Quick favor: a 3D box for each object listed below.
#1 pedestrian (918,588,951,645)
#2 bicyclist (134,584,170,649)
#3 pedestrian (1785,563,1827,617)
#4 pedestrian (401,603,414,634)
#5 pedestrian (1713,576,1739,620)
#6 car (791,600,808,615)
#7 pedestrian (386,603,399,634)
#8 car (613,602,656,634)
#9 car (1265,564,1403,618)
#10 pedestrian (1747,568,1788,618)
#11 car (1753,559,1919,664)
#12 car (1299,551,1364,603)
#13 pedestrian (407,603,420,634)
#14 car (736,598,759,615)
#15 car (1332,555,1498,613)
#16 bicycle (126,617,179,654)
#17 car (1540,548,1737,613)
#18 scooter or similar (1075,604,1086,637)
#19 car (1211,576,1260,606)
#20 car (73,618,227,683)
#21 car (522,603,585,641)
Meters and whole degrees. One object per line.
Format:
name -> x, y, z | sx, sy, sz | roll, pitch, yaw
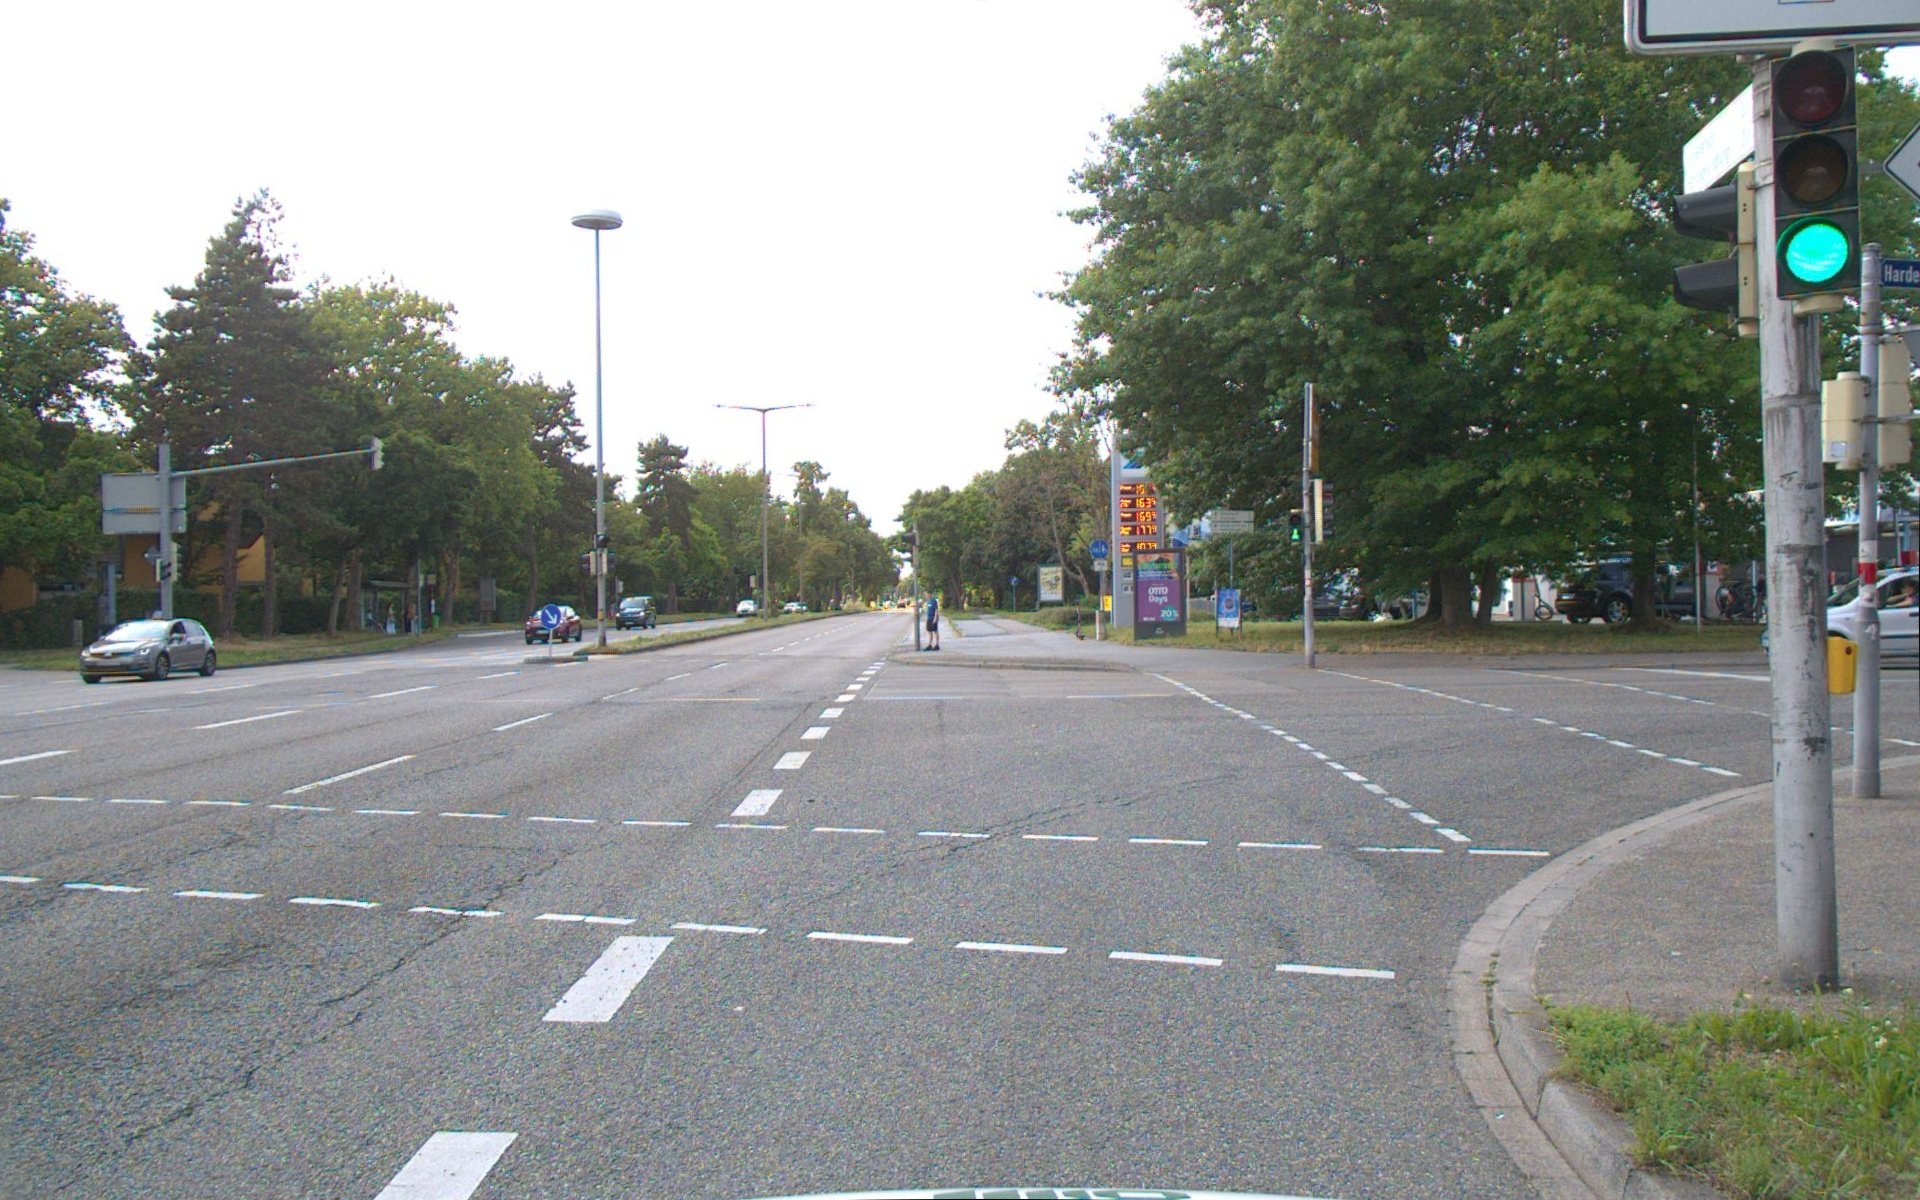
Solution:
pedestrian -> -0.711, 0.455, 46.021 | 0.714, 1.558, 0.756 | -1, 0, -17
bicyclist -> -25.938, 0.533, 53.128 | 0.736, 2.049, 0.831 | -1, 0, -3
pedestrian -> 20.426, -0.242, 39.938 | 0.753, 1.277, 0.641 | 0, -1, 45
pedestrian -> -27.760, 0.937, 83.119 | 0.560, 1.522, 0.419 | 1, -1, -17
pedestrian -> 27.583, -0.080, 59.547 | 0.640, 1.571, 0.624 | -1, 0, 6
car -> -18.847, 0.914, 194.414 | 1.823, 1.735, 4.453 | -1, 0, -3
pedestrian -> -28.370, 0.923, 82.693 | 0.560, 1.522, 0.419 | 1, -1, -17
car -> -20.203, 1.098, 102.799 | 1.729, 1.889, 4.816 | -1, 0, -1
car -> 15.287, -0.377, 67.787 | 5.079, 2.039, 2.152 | -1, 0, -5
pedestrian -> 19.793, -0.165, 40.549 | 0.753, 1.211, 0.641 | 0, -1, 45
car -> 14.243, 0.155, 25.300 | 3.520, 1.543, 1.560 | -1, 0, 12
car -> 18.672, -1.105, 83.414 | 1.715, 2.496, 5.747 | -1, 0, -3
pedestrian -> -27.158, 0.935, 82.246 | 0.560, 1.522, 0.419 | 1, -1, -17
car -> -21.801, 0.654, 169.755 | 1.822, 1.735, 4.454 | -1, 0, -2
car -> 15.607, -0.536, 56.856 | 5.089, 1.859, 2.148 | -1, 0, -12
bicycle -> -25.923, 1.127, 53.150 | 0.740, 1.138, 2.113 | -1, 0, -3
car -> 18.291, -0.513, 44.670 | 4.469, 1.624, 2.148 | -1, 0, -12
scooter or similar -> 3.664, 0.614, 50.352 | 0.216, 0.996, 1.272 | -1, 0, -1
car -> 14.376, -0.444, 86.475 | 1.715, 1.479, 3.739 | -1, 0, -3
car -> -19.193, 1.160, 39.367 | 1.561, 1.396, 4.082 | -1, 0, 1
car -> -16.972, 0.889, 69.244 | 1.737, 1.490, 4.452 | -1, 0, -4
